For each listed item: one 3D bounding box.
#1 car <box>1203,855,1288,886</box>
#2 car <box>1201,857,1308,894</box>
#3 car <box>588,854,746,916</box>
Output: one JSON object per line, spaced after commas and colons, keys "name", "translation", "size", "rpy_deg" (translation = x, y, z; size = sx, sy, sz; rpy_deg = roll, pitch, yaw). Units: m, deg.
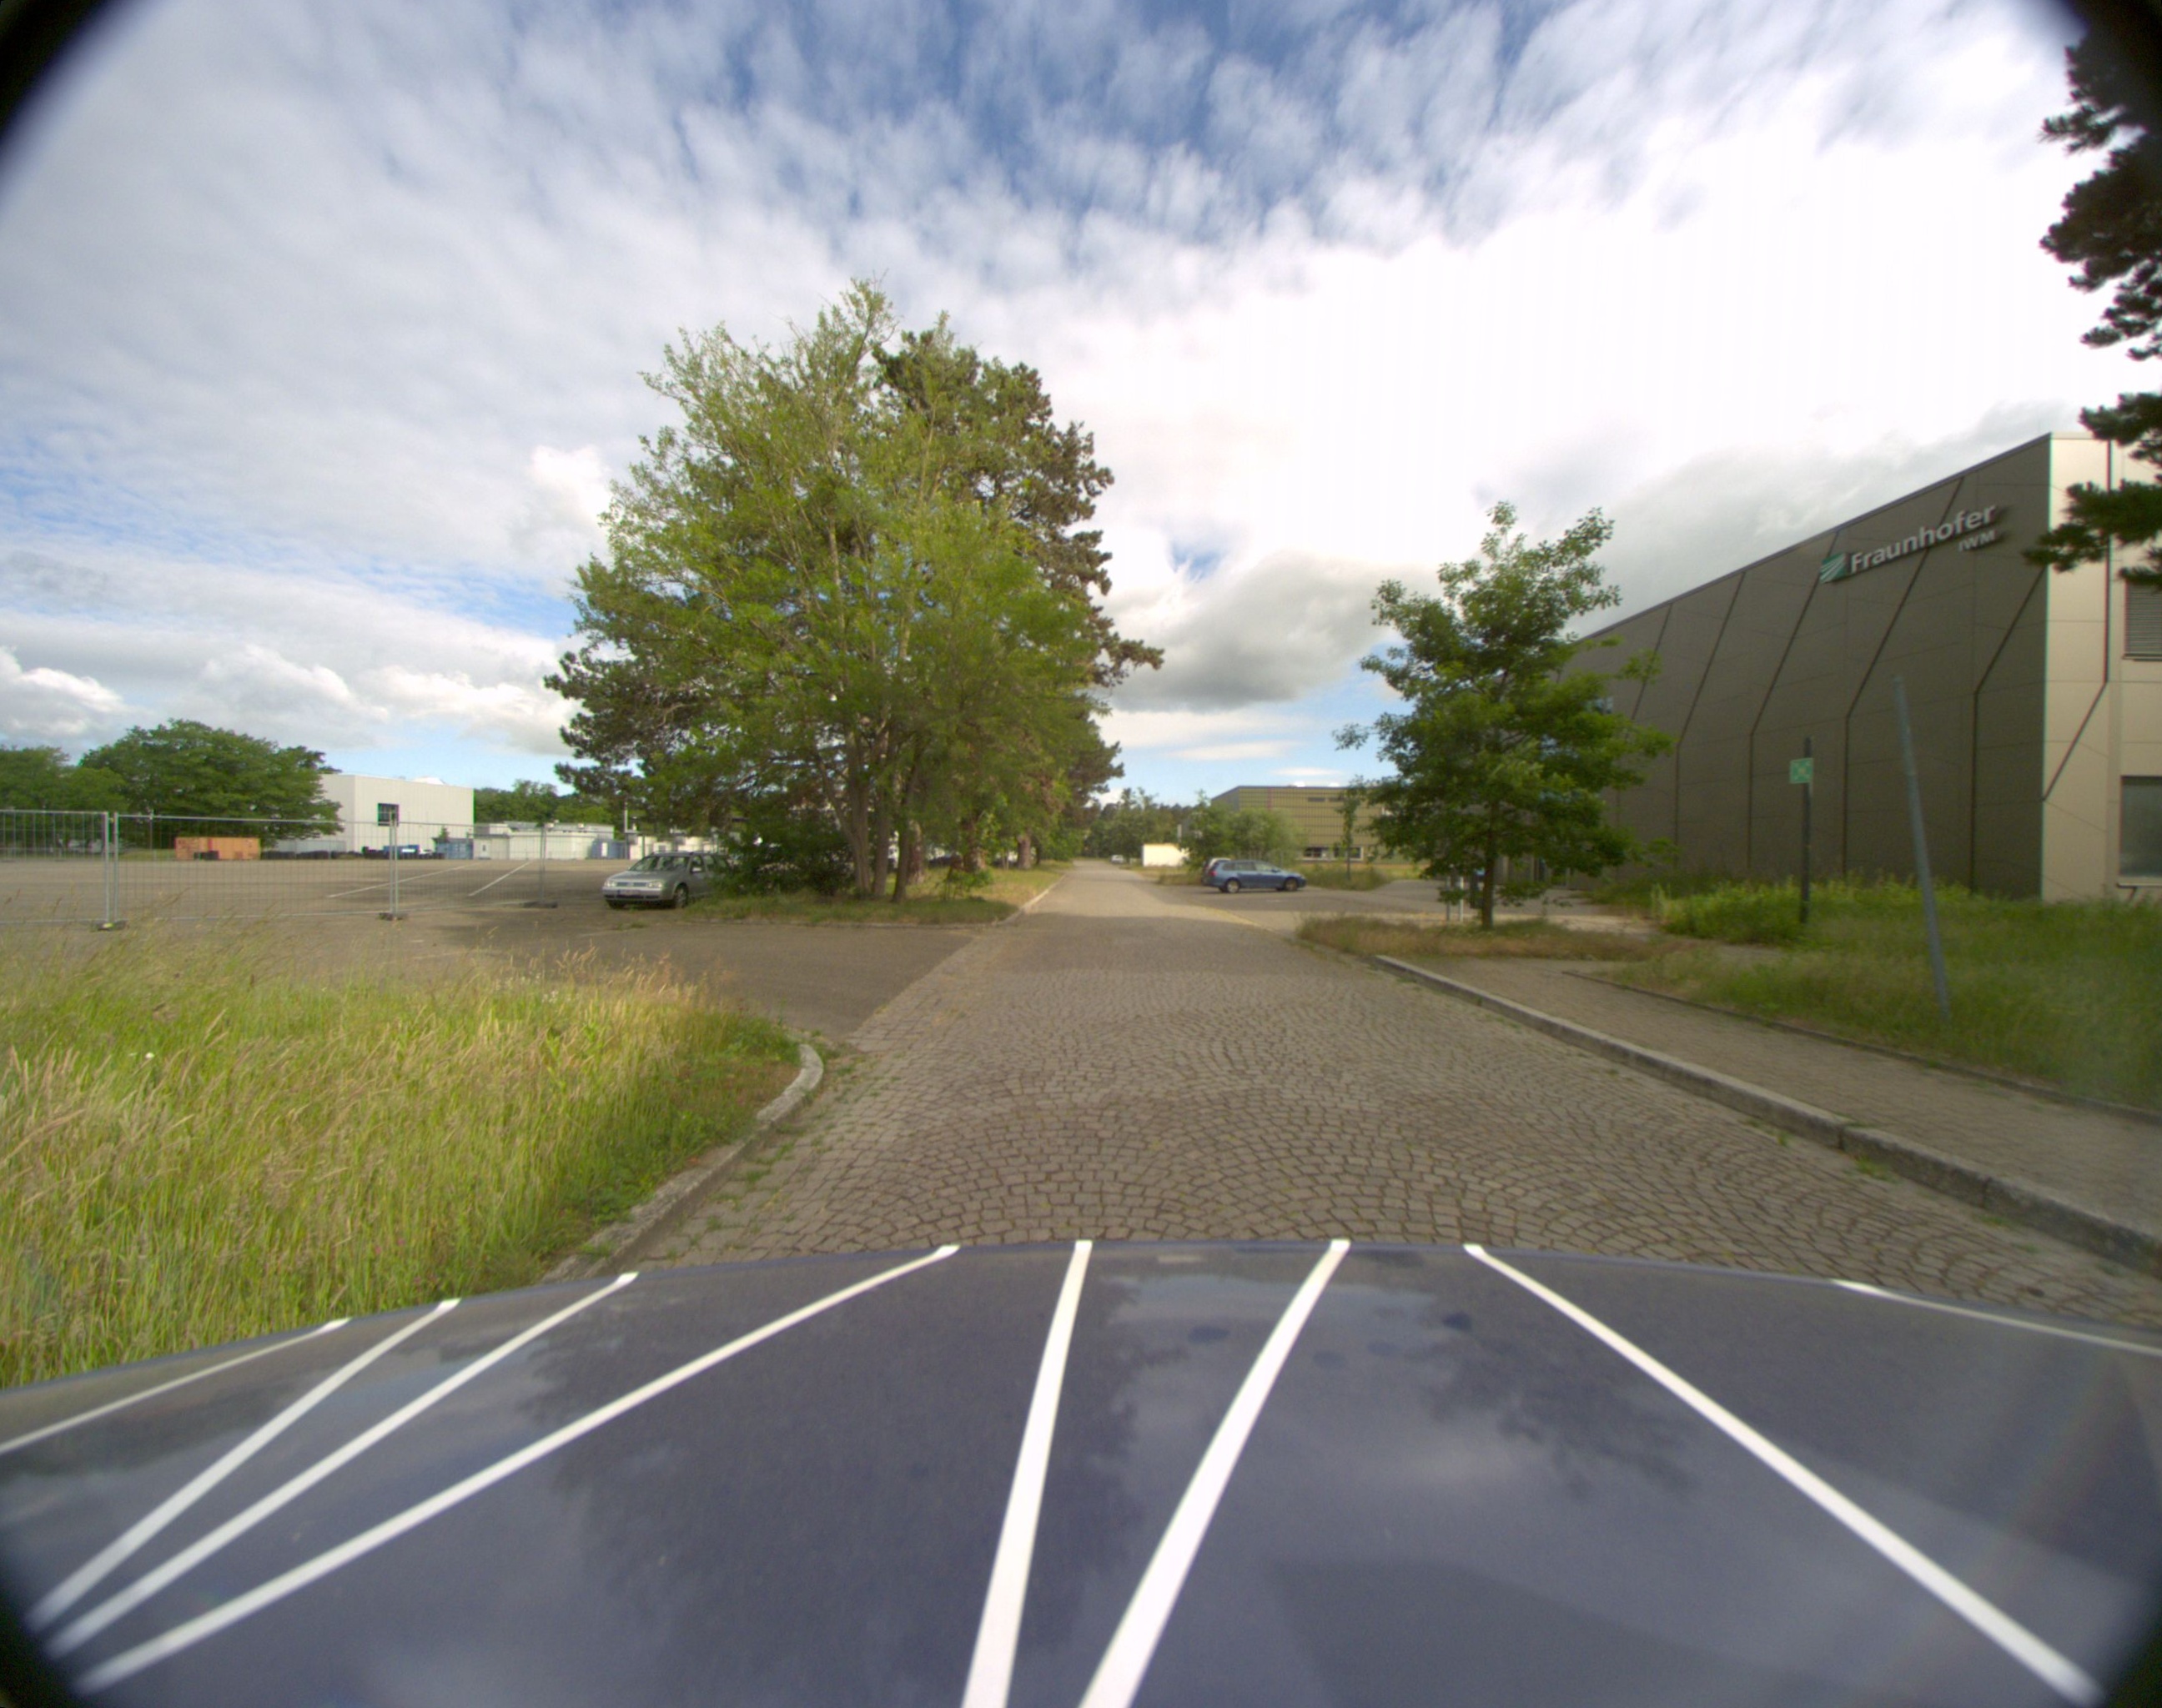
{"name": "car", "translation": [8.977, 0.891, 41.851], "size": [4.400, 1.537, 1.842], "rpy_deg": [-2, 0, 7]}
{"name": "car", "translation": [7.835, 0.945, 34.566], "size": [4.404, 1.501, 1.716], "rpy_deg": [-2, 1, -2]}
{"name": "car", "translation": [-10.799, 0.743, 20.222], "size": [1.759, 1.440, 4.327], "rpy_deg": [1, 0, 2]}
